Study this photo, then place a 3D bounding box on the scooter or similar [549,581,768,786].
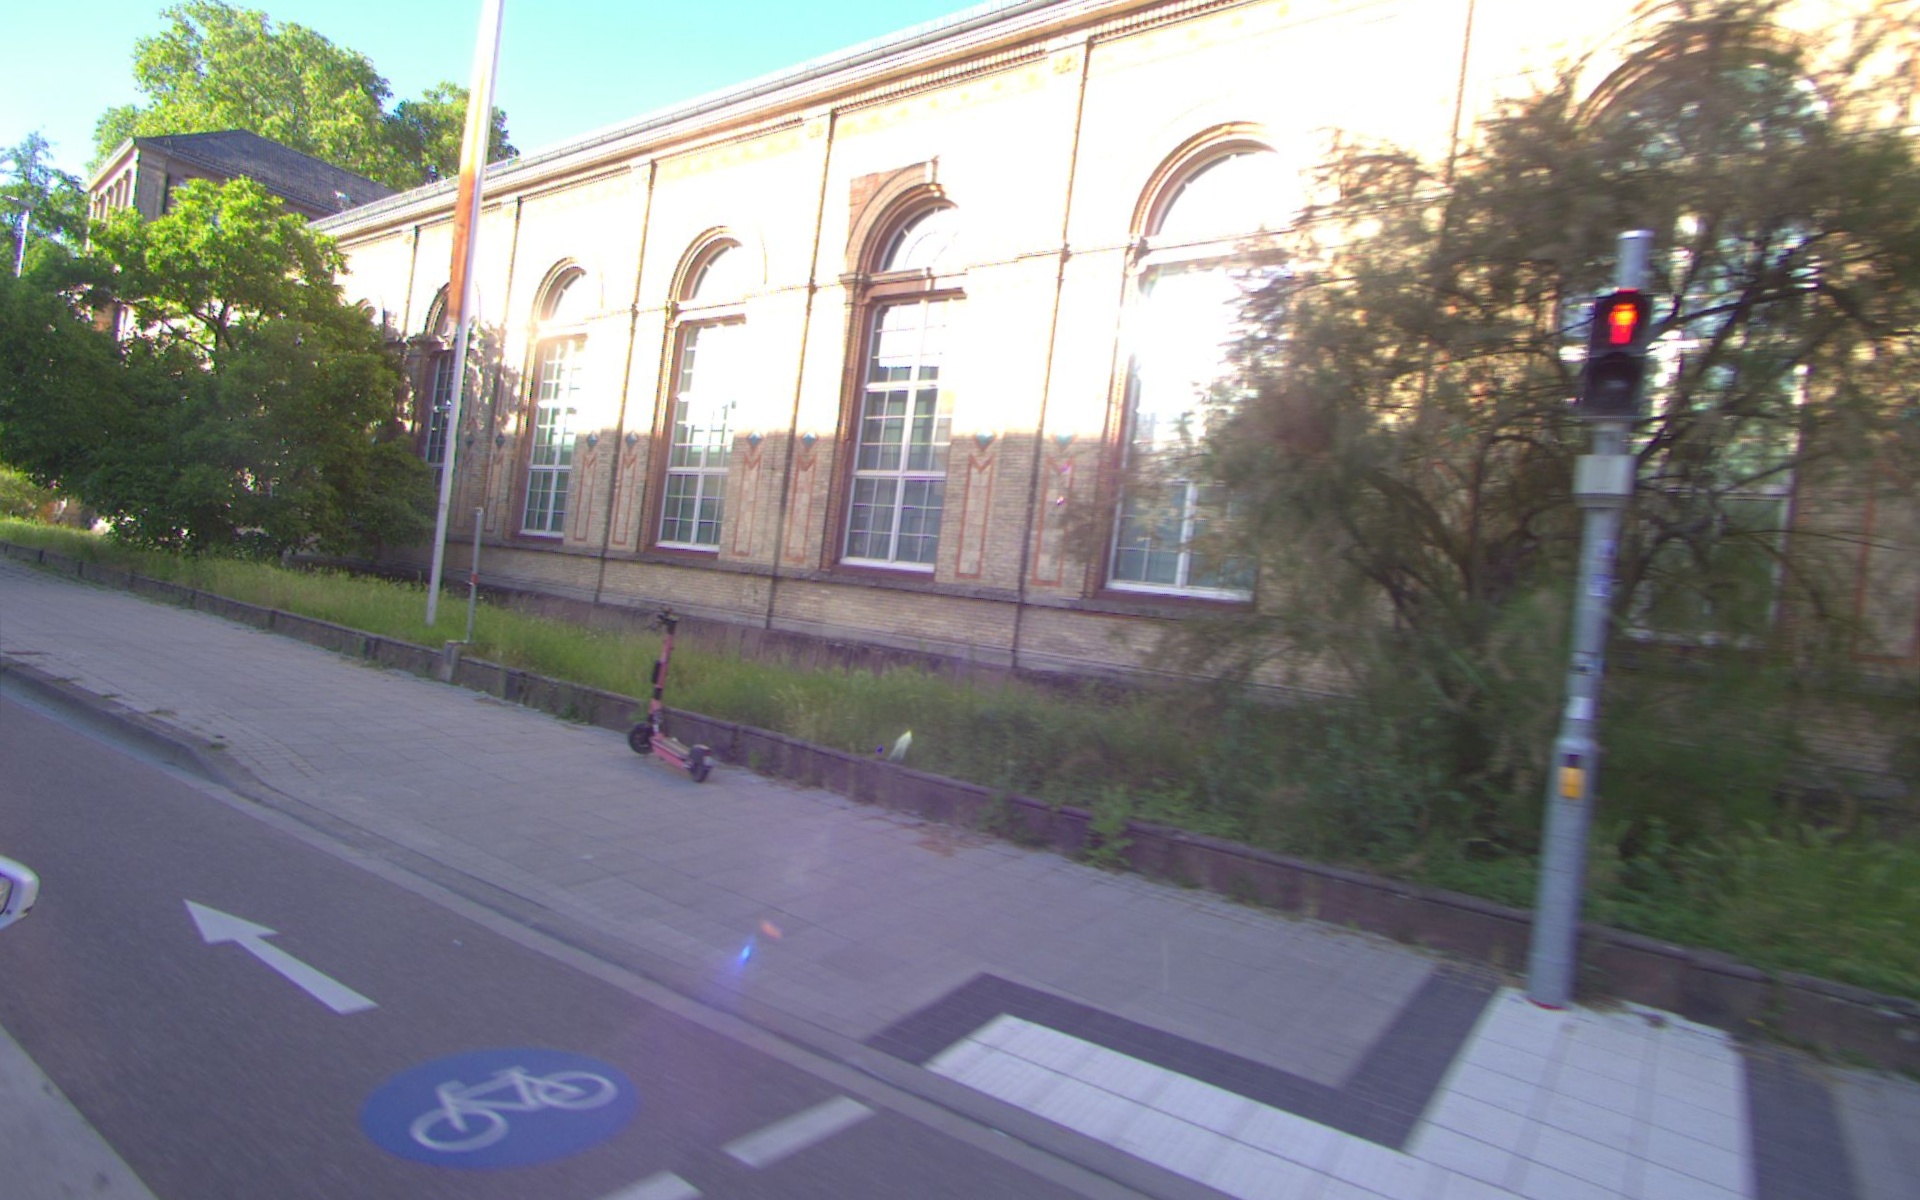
[{"bbox_3d":[-2.416,0.612,7.950,1.804,1.324,0.555,7,0,37],"label":"scooter or similar"}]
